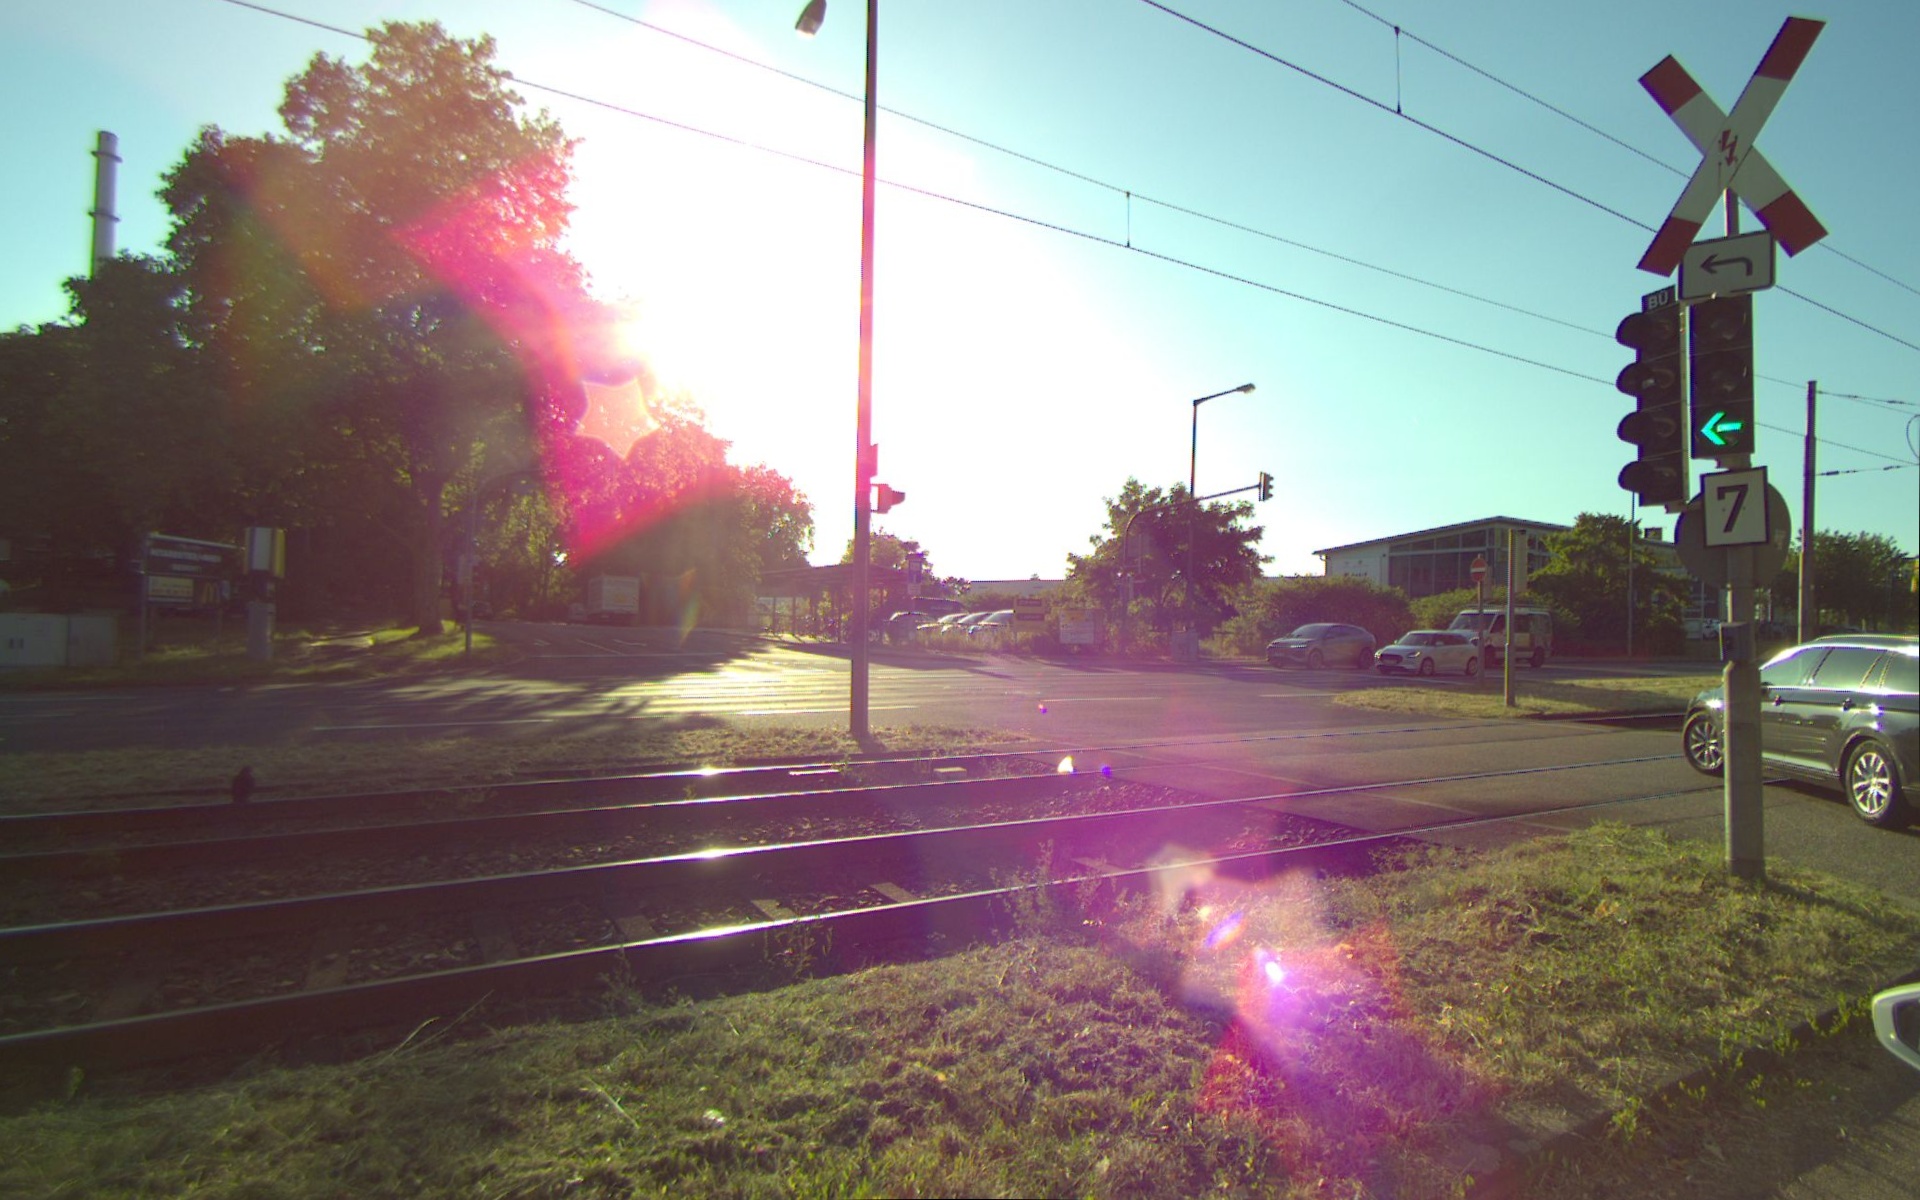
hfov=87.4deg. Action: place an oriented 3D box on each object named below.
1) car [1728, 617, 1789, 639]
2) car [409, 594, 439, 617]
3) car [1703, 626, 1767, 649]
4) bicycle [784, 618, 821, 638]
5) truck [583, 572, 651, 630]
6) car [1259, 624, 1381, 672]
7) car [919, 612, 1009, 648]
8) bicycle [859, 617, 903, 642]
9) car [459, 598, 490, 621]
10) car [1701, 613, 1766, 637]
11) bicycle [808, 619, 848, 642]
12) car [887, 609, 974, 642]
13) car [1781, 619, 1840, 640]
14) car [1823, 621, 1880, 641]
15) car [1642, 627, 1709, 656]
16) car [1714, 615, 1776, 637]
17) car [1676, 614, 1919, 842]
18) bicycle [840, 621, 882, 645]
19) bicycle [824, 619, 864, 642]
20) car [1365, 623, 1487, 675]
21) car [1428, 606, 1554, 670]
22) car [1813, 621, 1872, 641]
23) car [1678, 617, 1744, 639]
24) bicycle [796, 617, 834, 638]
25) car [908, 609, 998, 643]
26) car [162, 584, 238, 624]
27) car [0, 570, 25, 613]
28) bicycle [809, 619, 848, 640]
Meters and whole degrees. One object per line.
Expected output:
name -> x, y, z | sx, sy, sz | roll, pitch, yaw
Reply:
car -> 63.873, 2.260, 80.376 | 3.743, 1.588, 1.751 | 2, -1, 41
car -> -38.821, 0.390, 72.738 | 1.829, 1.572, 3.969 | 2, -1, -29
car -> 59.149, 2.852, 76.710 | 3.743, 1.588, 1.751 | 2, -1, 41
bicycle -> -8.424, 1.506, 53.634 | 1.869, 1.052, 0.540 | 2, 0, -26
truck -> -25.902, 0.032, 75.346 | 3.154, 3.927, 11.020 | 2, -1, -27
car -> 13.418, 1.788, 37.403 | 4.497, 1.639, 1.860 | 2, -1, -32
car -> 0.230, 1.487, 49.974 | 3.956, 1.670, 2.102 | 2, -1, -32
bicycle -> -3.482, 1.318, 44.226 | 1.871, 1.052, 0.540 | 2, 0, -30
car -> -35.581, 0.656, 73.613 | 1.829, 1.572, 3.969 | 2, -1, -29
car -> 57.653, 1.869, 74.931 | 3.743, 1.588, 1.751 | 2, -1, 41
bicycle -> -6.506, 1.508, 49.484 | 1.871, 1.052, 0.540 | 2, 0, -30
car -> -1.630, 1.415, 55.037 | 4.273, 1.670, 2.102 | 2, -1, -32
car -> 71.877, 2.465, 84.940 | 3.743, 1.588, 1.751 | 2, -1, 41
car -> 79.436, 2.775, 89.559 | 3.743, 1.588, 1.751 | 2, -1, 41
car -> 50.860, 2.947, 71.431 | 3.743, 1.884, 1.751 | 2, -1, 41
car -> 61.483, 2.040, 78.732 | 3.743, 1.588, 1.751 | 2, -1, 41
car -> 7.960, 0.942, 8.393 | 1.794, 1.576, 4.261 | 2, -1, 15
bicycle -> -4.596, 1.542, 46.777 | 1.871, 1.052, 0.540 | 2, 0, -30
bicycle -> -5.672, 1.483, 48.987 | 1.871, 1.052, 0.540 | 2, 0, -30
car -> 15.799, 1.645, 34.026 | 3.955, 1.639, 1.860 | 2, -1, -32
car -> 22.722, 1.631, 42.899 | 5.808, 2.600, 1.993 | 2, 0, -31
car -> 77.196, 2.680, 87.924 | 3.743, 1.588, 1.751 | 2, -1, 41
car -> 54.292, 2.021, 72.643 | 3.743, 1.407, 1.751 | 2, -1, 41
bicycle -> -7.544, 1.452, 52.393 | 1.869, 1.052, 0.540 | 2, 0, -26
car -> -0.379, 1.386, 53.054 | 4.273, 1.670, 2.102 | 2, -1, -32
car -> -32.919, 0.165, 43.618 | 2.019, 1.595, 4.367 | 2, 0, -30
car -> -39.404, -0.385, 39.780 | 1.973, 1.729, 4.869 | 2, -1, -25
bicycle -> -6.686, 1.494, 51.016 | 1.869, 1.052, 0.540 | 2, 0, -26
